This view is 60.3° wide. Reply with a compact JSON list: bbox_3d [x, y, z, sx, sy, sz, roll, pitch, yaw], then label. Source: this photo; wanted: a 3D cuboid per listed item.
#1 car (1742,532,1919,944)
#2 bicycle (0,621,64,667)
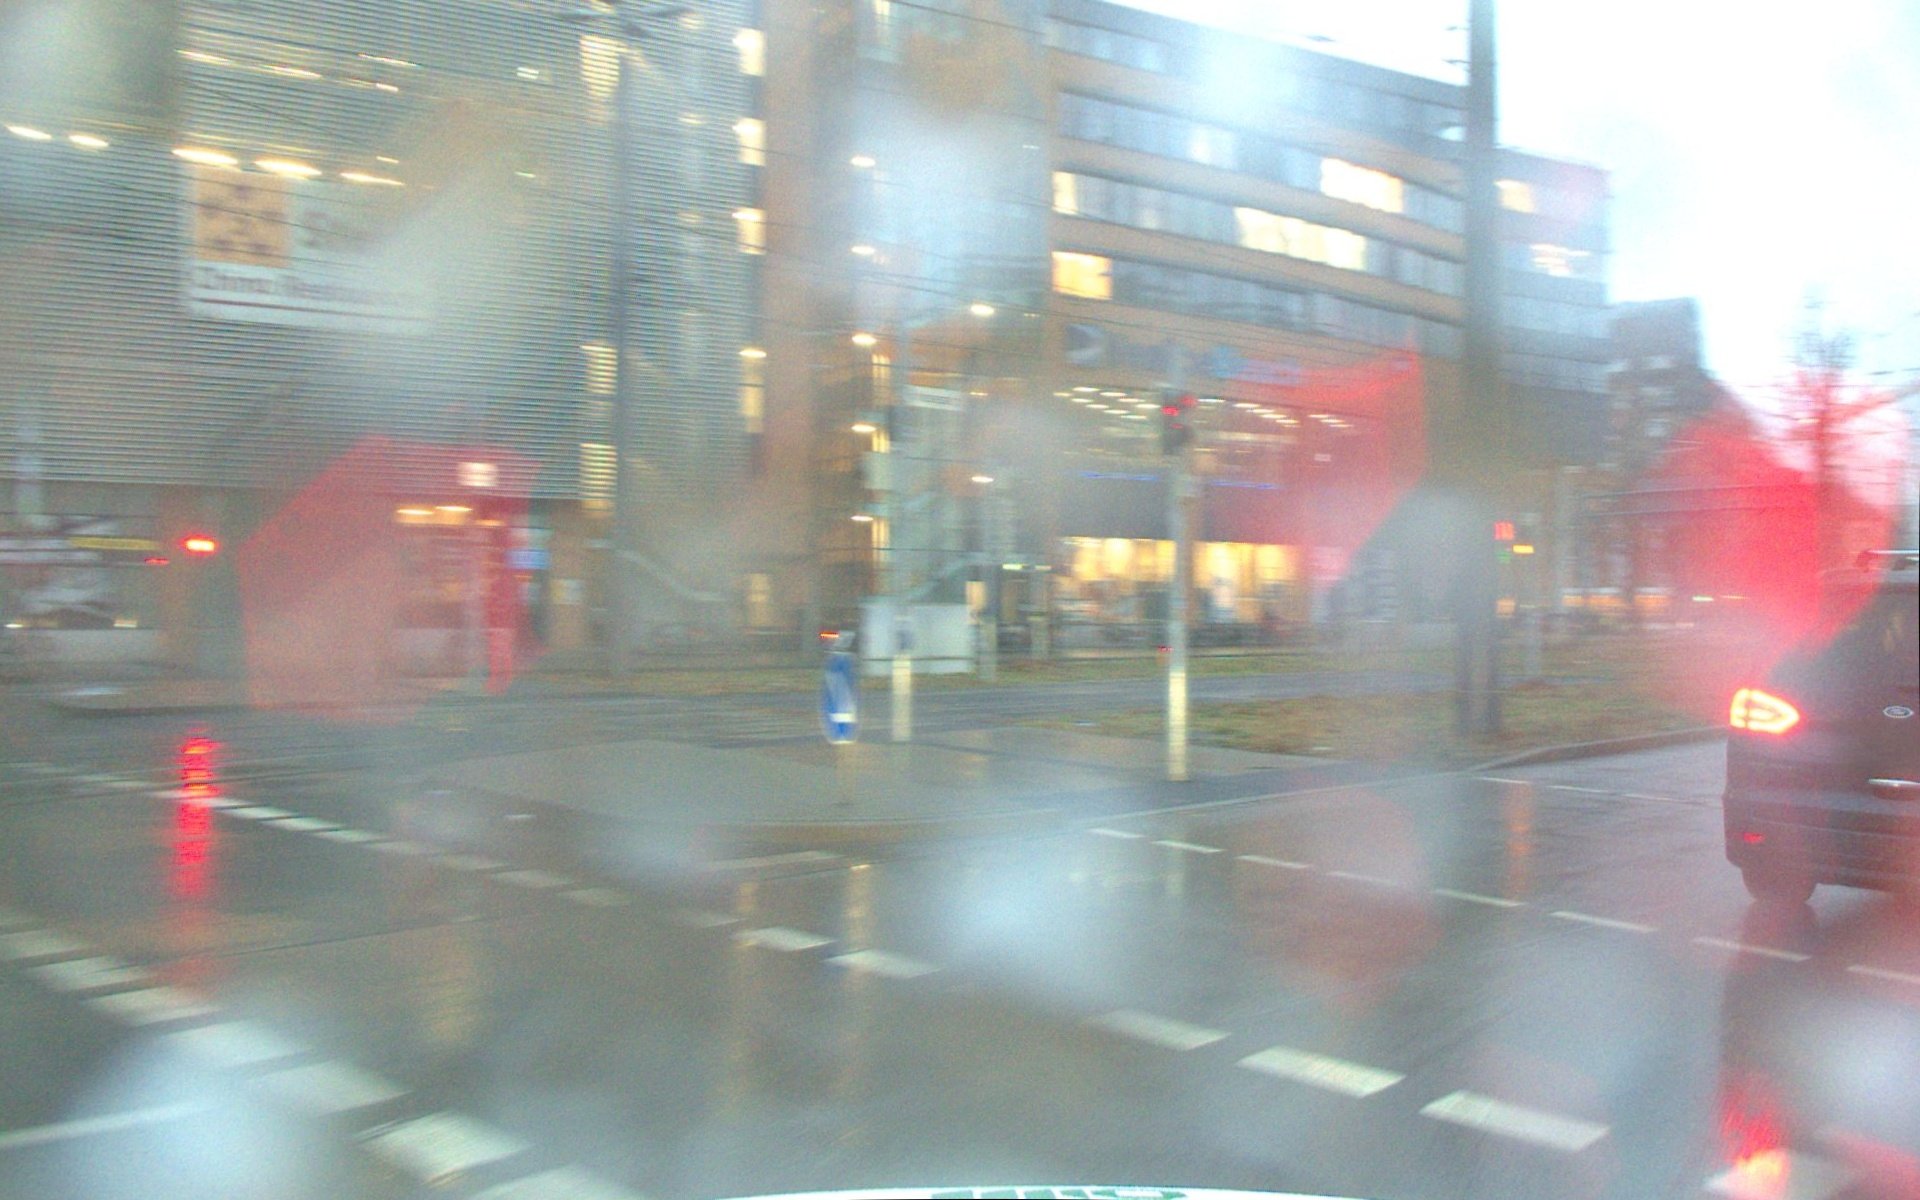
[{"bbox_3d":[5.660,0.613,8.637,1.651,1.811,3.971,0,-1,45],"label":"car"},{"bbox_3d":[-23.422,1.092,41.035,2.063,1.141,0.472,2,-2,-31],"label":"bicycle"}]
